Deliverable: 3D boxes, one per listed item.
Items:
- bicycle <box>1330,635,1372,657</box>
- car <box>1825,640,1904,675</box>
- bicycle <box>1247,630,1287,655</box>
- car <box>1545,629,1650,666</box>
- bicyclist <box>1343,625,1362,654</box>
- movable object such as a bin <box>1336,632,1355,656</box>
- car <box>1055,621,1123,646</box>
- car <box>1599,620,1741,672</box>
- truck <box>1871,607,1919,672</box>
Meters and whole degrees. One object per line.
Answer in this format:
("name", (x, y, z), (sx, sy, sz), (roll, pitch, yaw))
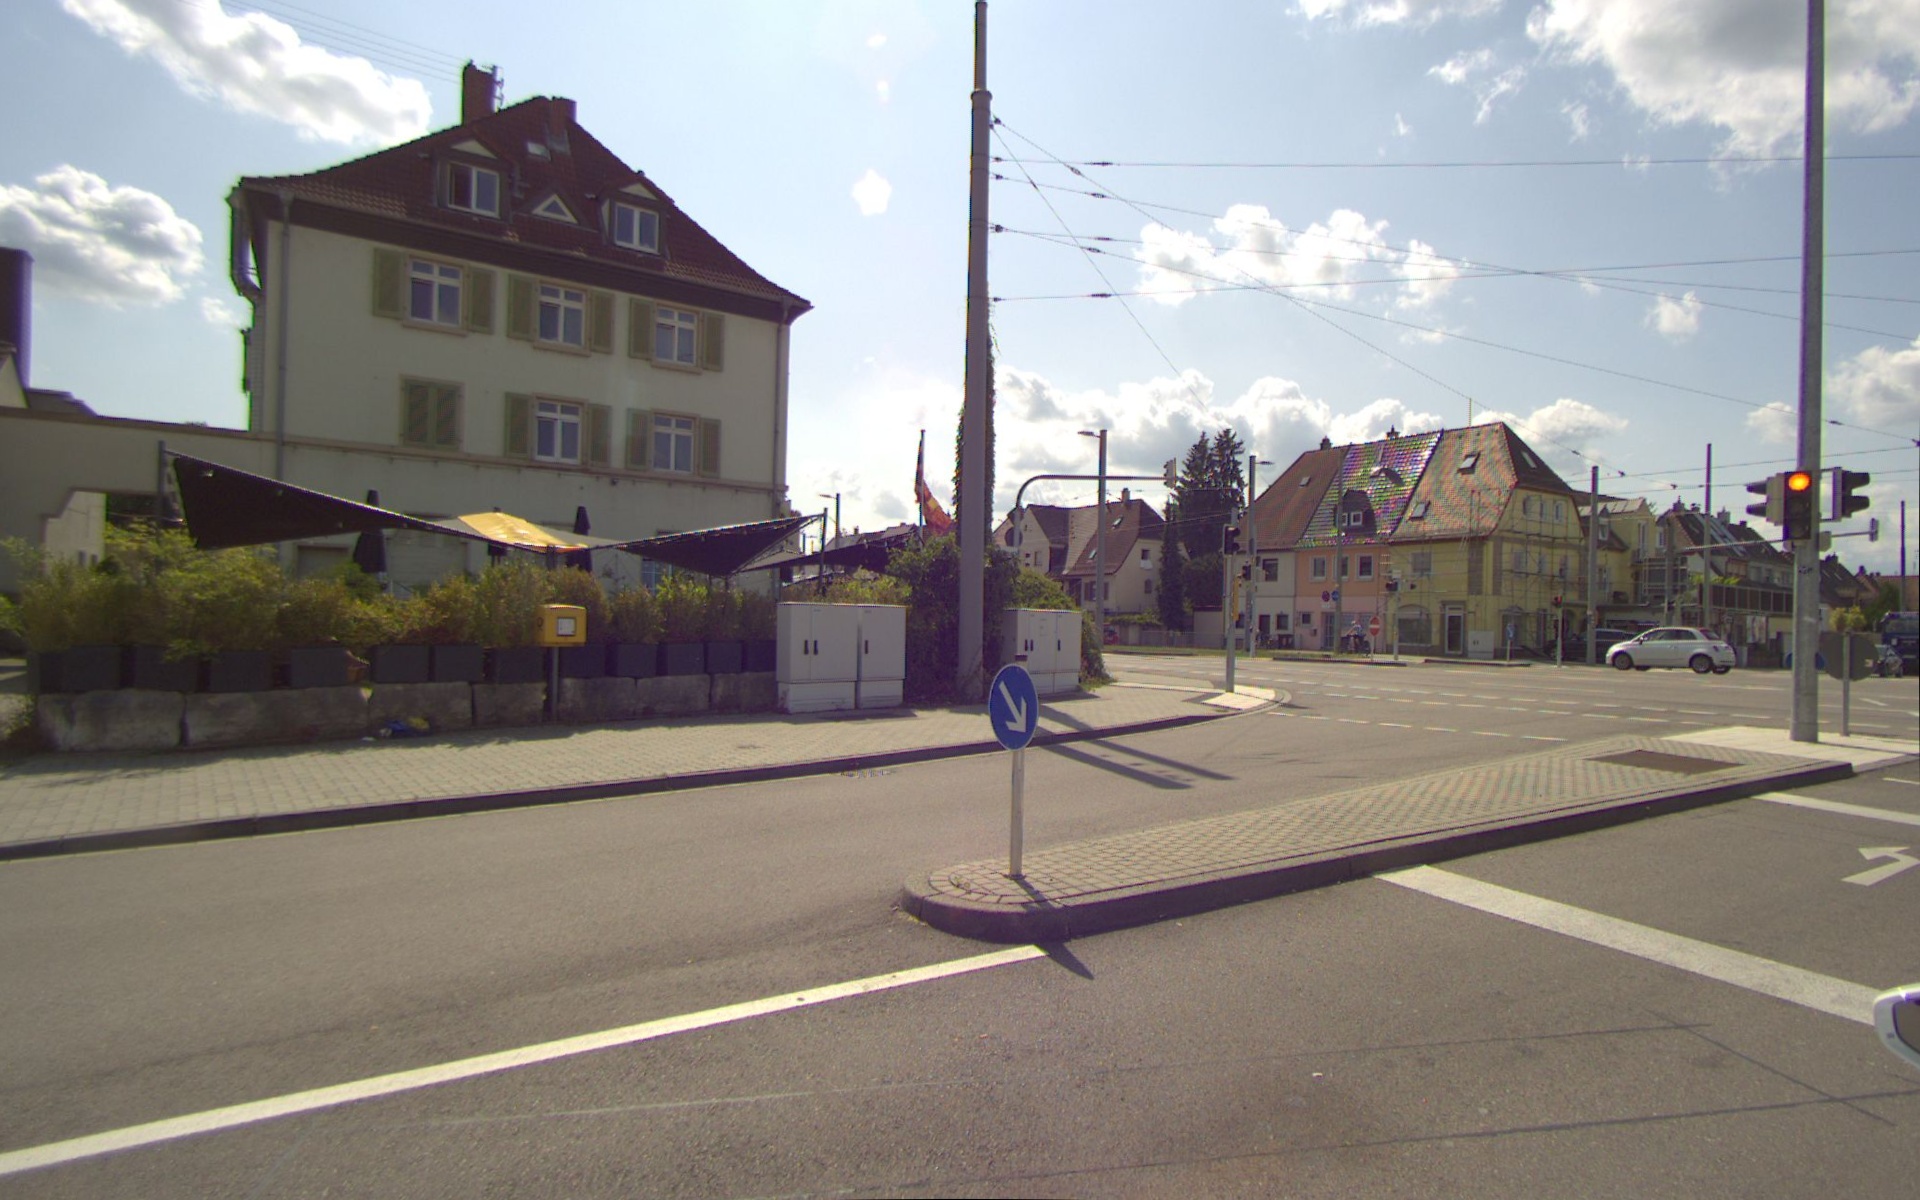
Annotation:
("bicycle", (19.887, 2.329, 51.156), (0.689, 1.092, 1.883), (2, -1, -41))
("car", (41.589, 2.635, 46.181), (4.291, 1.506, 1.816), (3, -2, -35))
("bicycle", (18.058, 2.502, 59.084), (2.428, 1.374, 0.770), (2, 0, -29))
("car", (30.746, 2.251, 48.559), (1.168, 1.513, 4.103), (2, 0, -37))
("bicyclist", (19.958, 2.003, 51.064), (0.573, 1.416, 0.715), (1, -1, -42))
("movable object such as a bin", (20.899, 2.381, 54.467), (0.674, 1.277, 0.677), (2, 0, -33))
("car", (7.463, 1.935, 58.479), (1.902, 1.372, 3.965), (1, -1, -32))
("car", (23.598, 1.493, 33.478), (1.569, 1.528, 3.517), (2, 0, -34))
("truck", (50.850, 2.144, 53.151), (7.516, 3.230, 2.747), (3, -2, -38))
